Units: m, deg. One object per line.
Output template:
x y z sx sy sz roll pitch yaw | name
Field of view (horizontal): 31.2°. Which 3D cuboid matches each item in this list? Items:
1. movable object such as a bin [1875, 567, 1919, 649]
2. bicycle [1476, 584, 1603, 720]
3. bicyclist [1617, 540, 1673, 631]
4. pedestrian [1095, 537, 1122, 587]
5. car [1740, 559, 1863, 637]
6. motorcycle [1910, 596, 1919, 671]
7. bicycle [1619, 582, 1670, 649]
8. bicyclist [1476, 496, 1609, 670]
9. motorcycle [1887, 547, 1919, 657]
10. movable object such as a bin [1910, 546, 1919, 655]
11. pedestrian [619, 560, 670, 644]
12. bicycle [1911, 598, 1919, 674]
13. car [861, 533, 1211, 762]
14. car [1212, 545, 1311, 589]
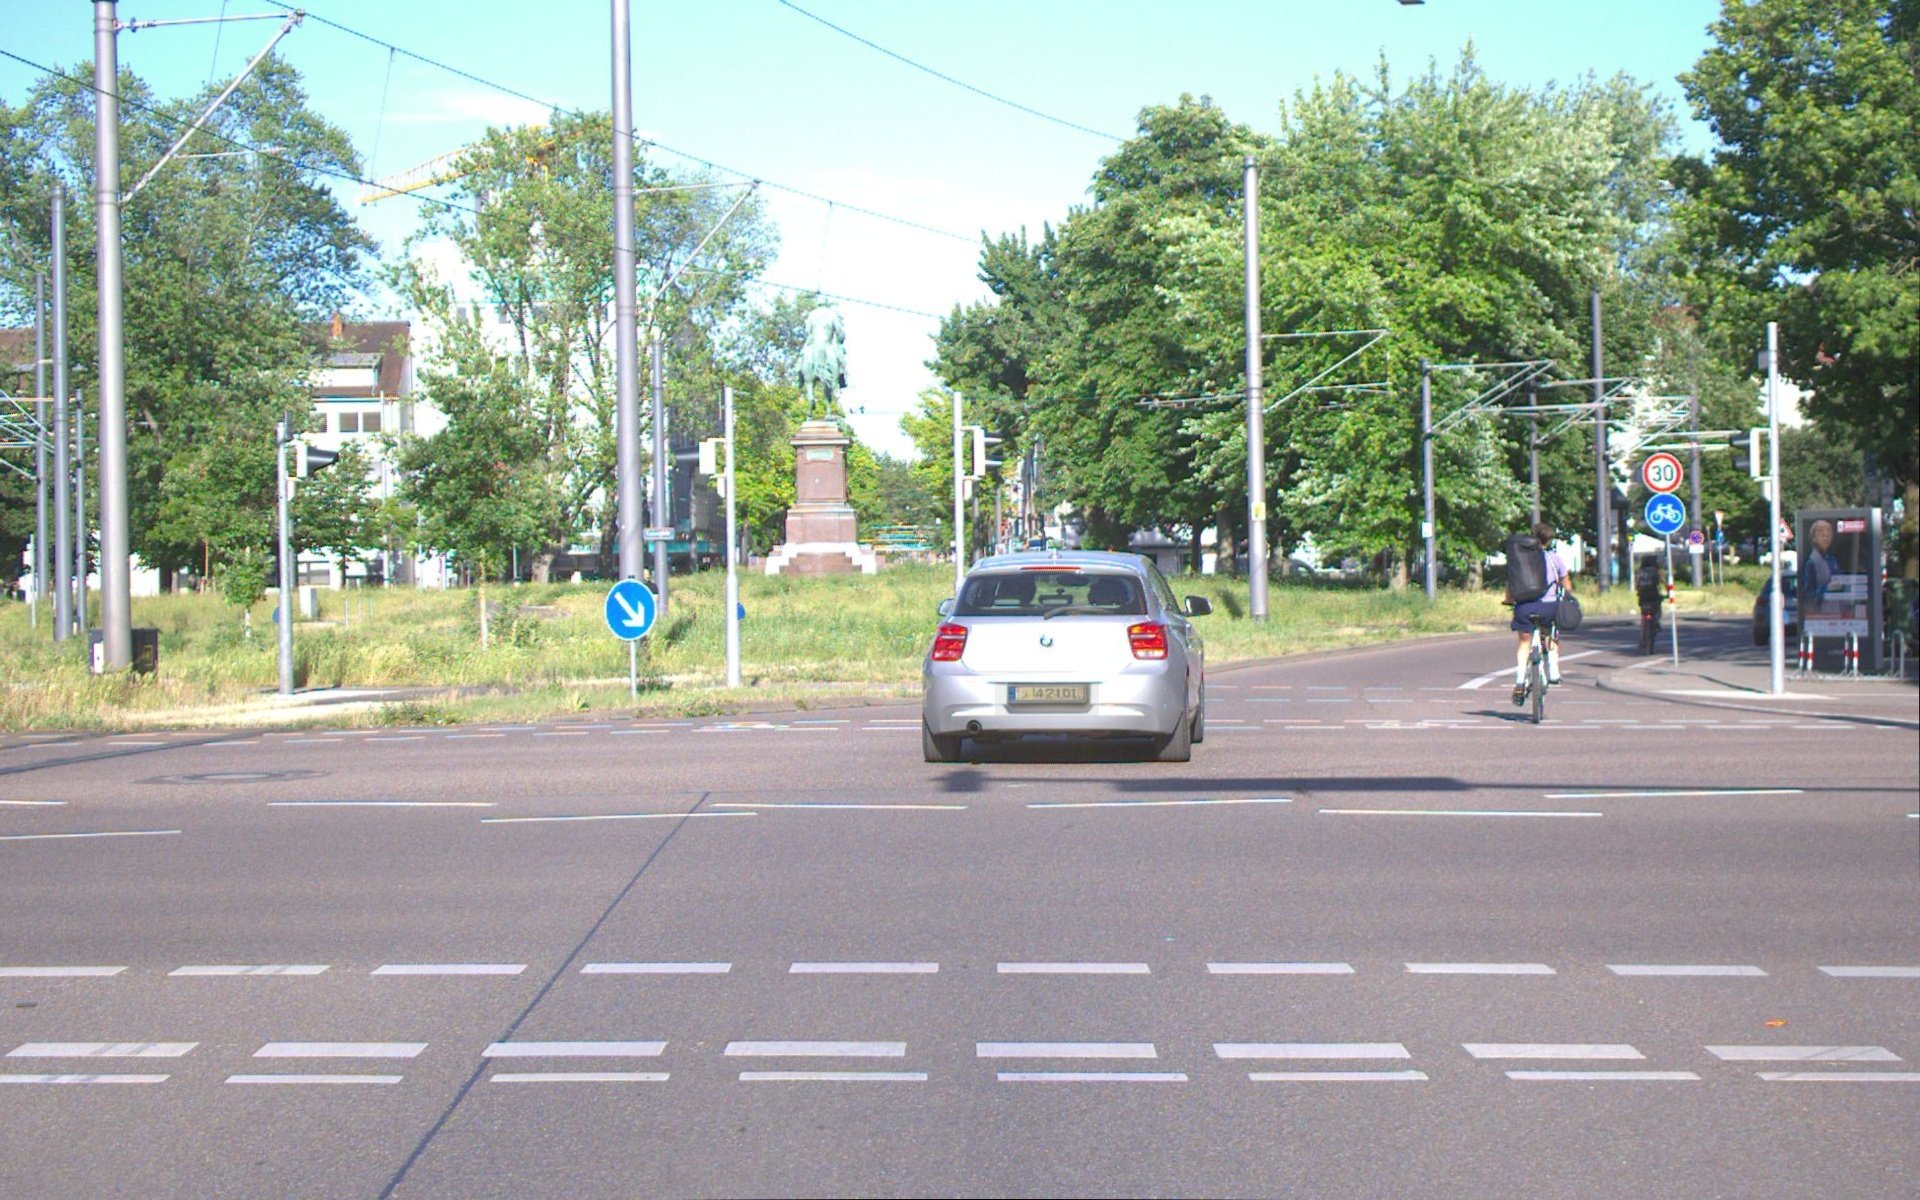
15.920 0.135 57.123 1.172 1.351 0.927 1 0 1 | movable object such as a bin
5.096 0.443 30.143 0.886 1.132 2.227 1 0 15 | bicycle
12.589 -0.264 63.140 0.940 1.628 0.935 1 0 14 | bicyclist
4.856 -1.234 112.584 0.673 1.610 0.555 1 0 -29 | pedestrian
16.714 -0.068 68.142 1.767 1.433 4.578 -1 1 21 | car
14.220 0.477 47.237 2.096 1.018 0.762 1 1 1 | motorcycle
12.562 0.282 63.047 0.820 1.181 1.963 1 0 13 | bicycle
5.099 -0.150 30.078 1.038 1.479 0.988 1 0 15 | bicyclist
13.918 0.021 49.255 0.802 1.534 2.545 1 1 6 | motorcycle
15.097 0.014 51.615 1.380 1.634 1.008 0 0 -1 | movable object such as a bin
-6.276 0.040 68.385 0.735 1.665 0.743 0 1 25 | pedestrian
12.809 0.475 44.119 0.475 0.981 2.120 1 0 -4 | bicycle
0.632 0.302 23.981 1.994 1.418 4.195 1 0 7 | car
16.690 -1.828 190.471 5.336 2.306 2.000 1 0 1 | car
